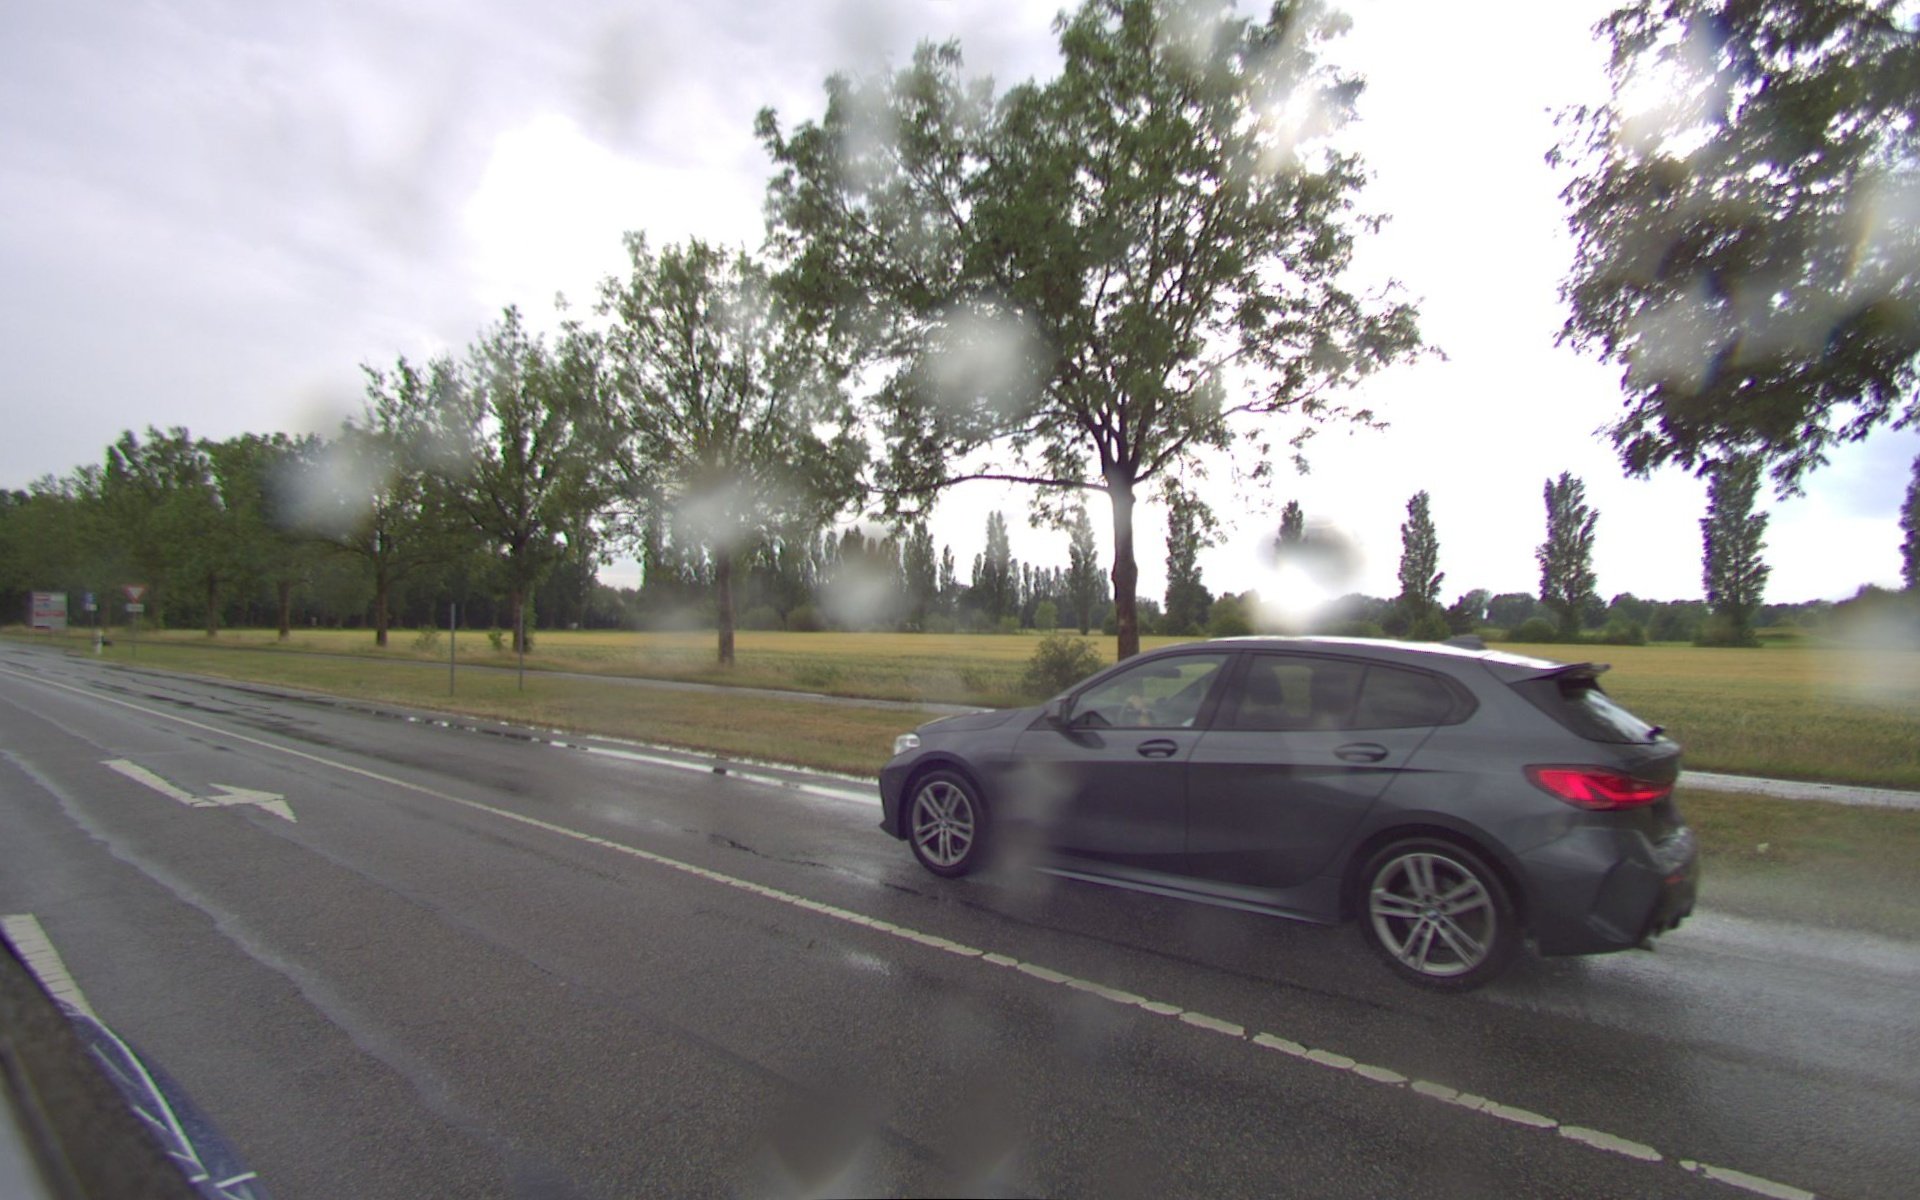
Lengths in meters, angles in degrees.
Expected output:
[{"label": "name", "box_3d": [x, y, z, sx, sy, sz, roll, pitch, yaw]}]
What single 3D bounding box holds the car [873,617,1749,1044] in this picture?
[{"label": "car", "box_3d": [1.578, 0.833, 5.363, 4.041, 1.415, 1.702, -1, -4, 41]}]
